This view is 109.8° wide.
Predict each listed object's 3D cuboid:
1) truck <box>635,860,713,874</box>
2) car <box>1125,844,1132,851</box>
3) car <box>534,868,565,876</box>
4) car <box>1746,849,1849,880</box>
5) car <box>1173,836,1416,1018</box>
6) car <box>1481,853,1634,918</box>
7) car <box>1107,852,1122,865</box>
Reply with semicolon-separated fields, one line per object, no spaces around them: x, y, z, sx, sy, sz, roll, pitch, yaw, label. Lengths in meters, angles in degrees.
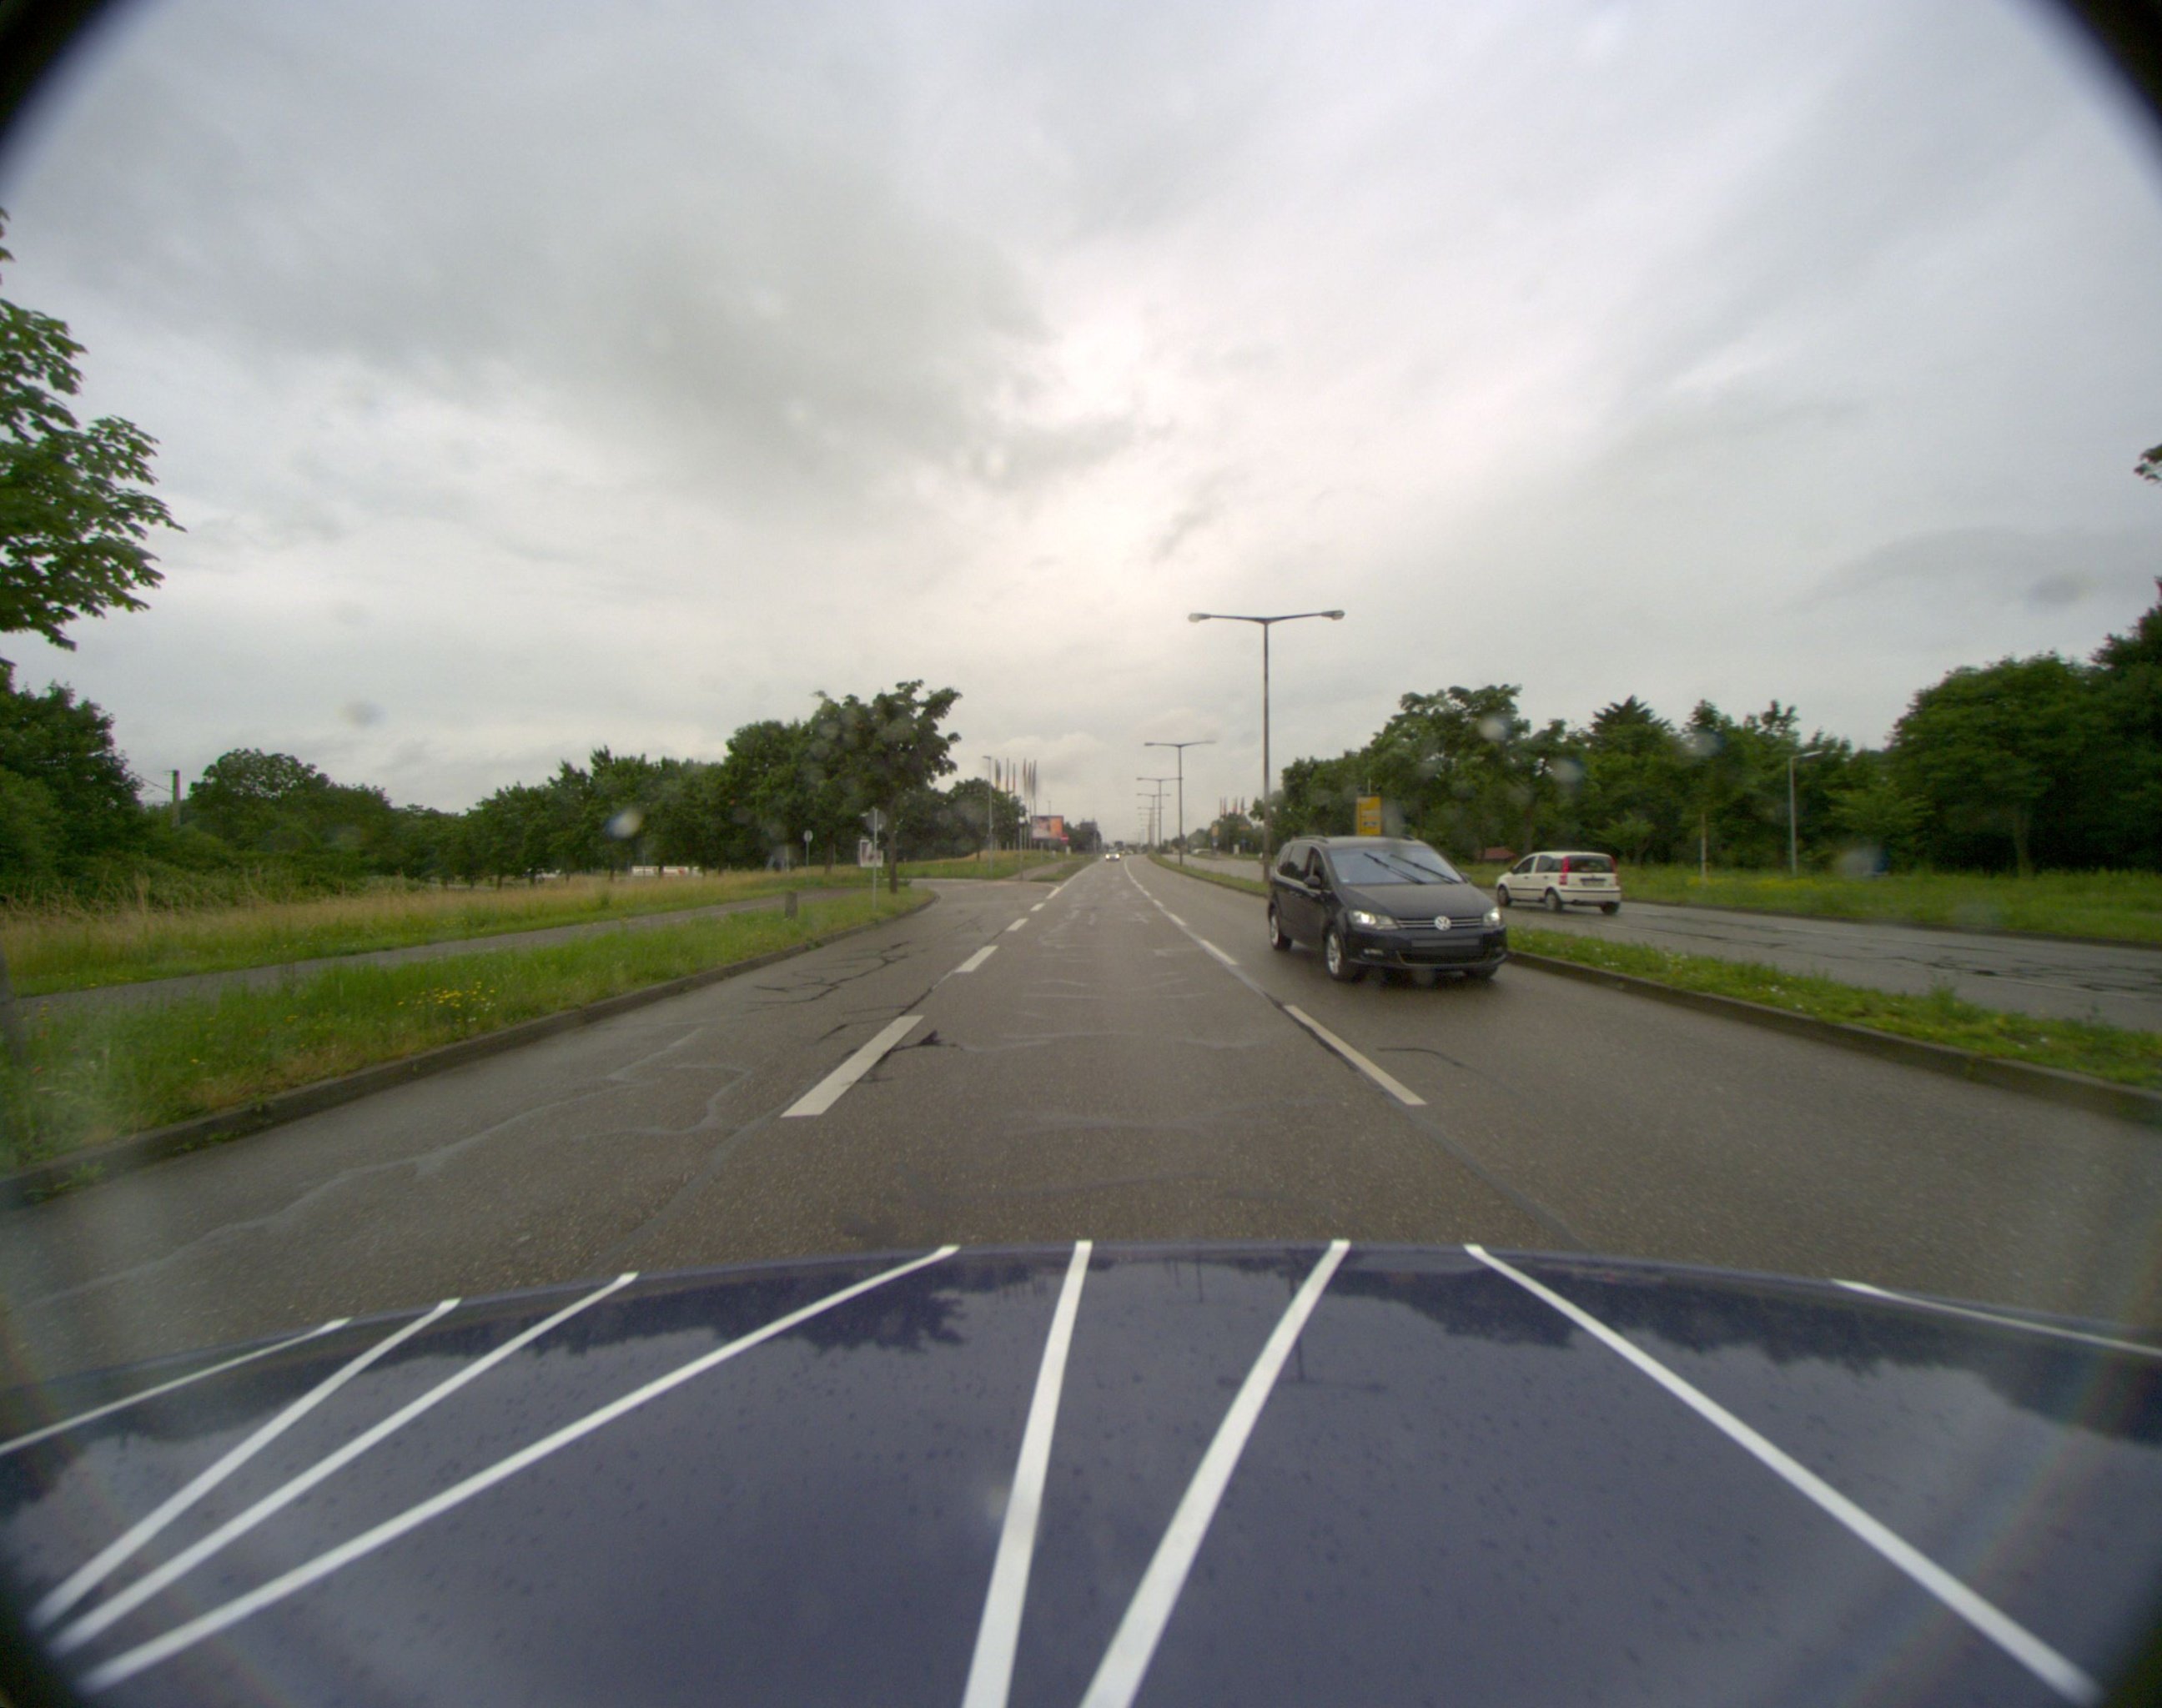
-89.205;2.757;167.040;14.634;2.715;3.502;-1;1;-16;truck
14.513;-1.989;232.580;1.998;1.831;4.000;-2;1;1;car
-120.946;4.019;172.954;5.293;1.597;2.237;-1;1;-17;car
39.825;0.566;42.304;3.998;1.675;1.999;0;0;-4;car
2.445;0.737;10.069;1.850;1.740;4.817;-3;0;1;car
12.539;0.762;20.306;1.687;1.545;4.001;1;0;3;car
4.641;0.633;105.773;1.998;1.701;4.000;-1;1;3;car
